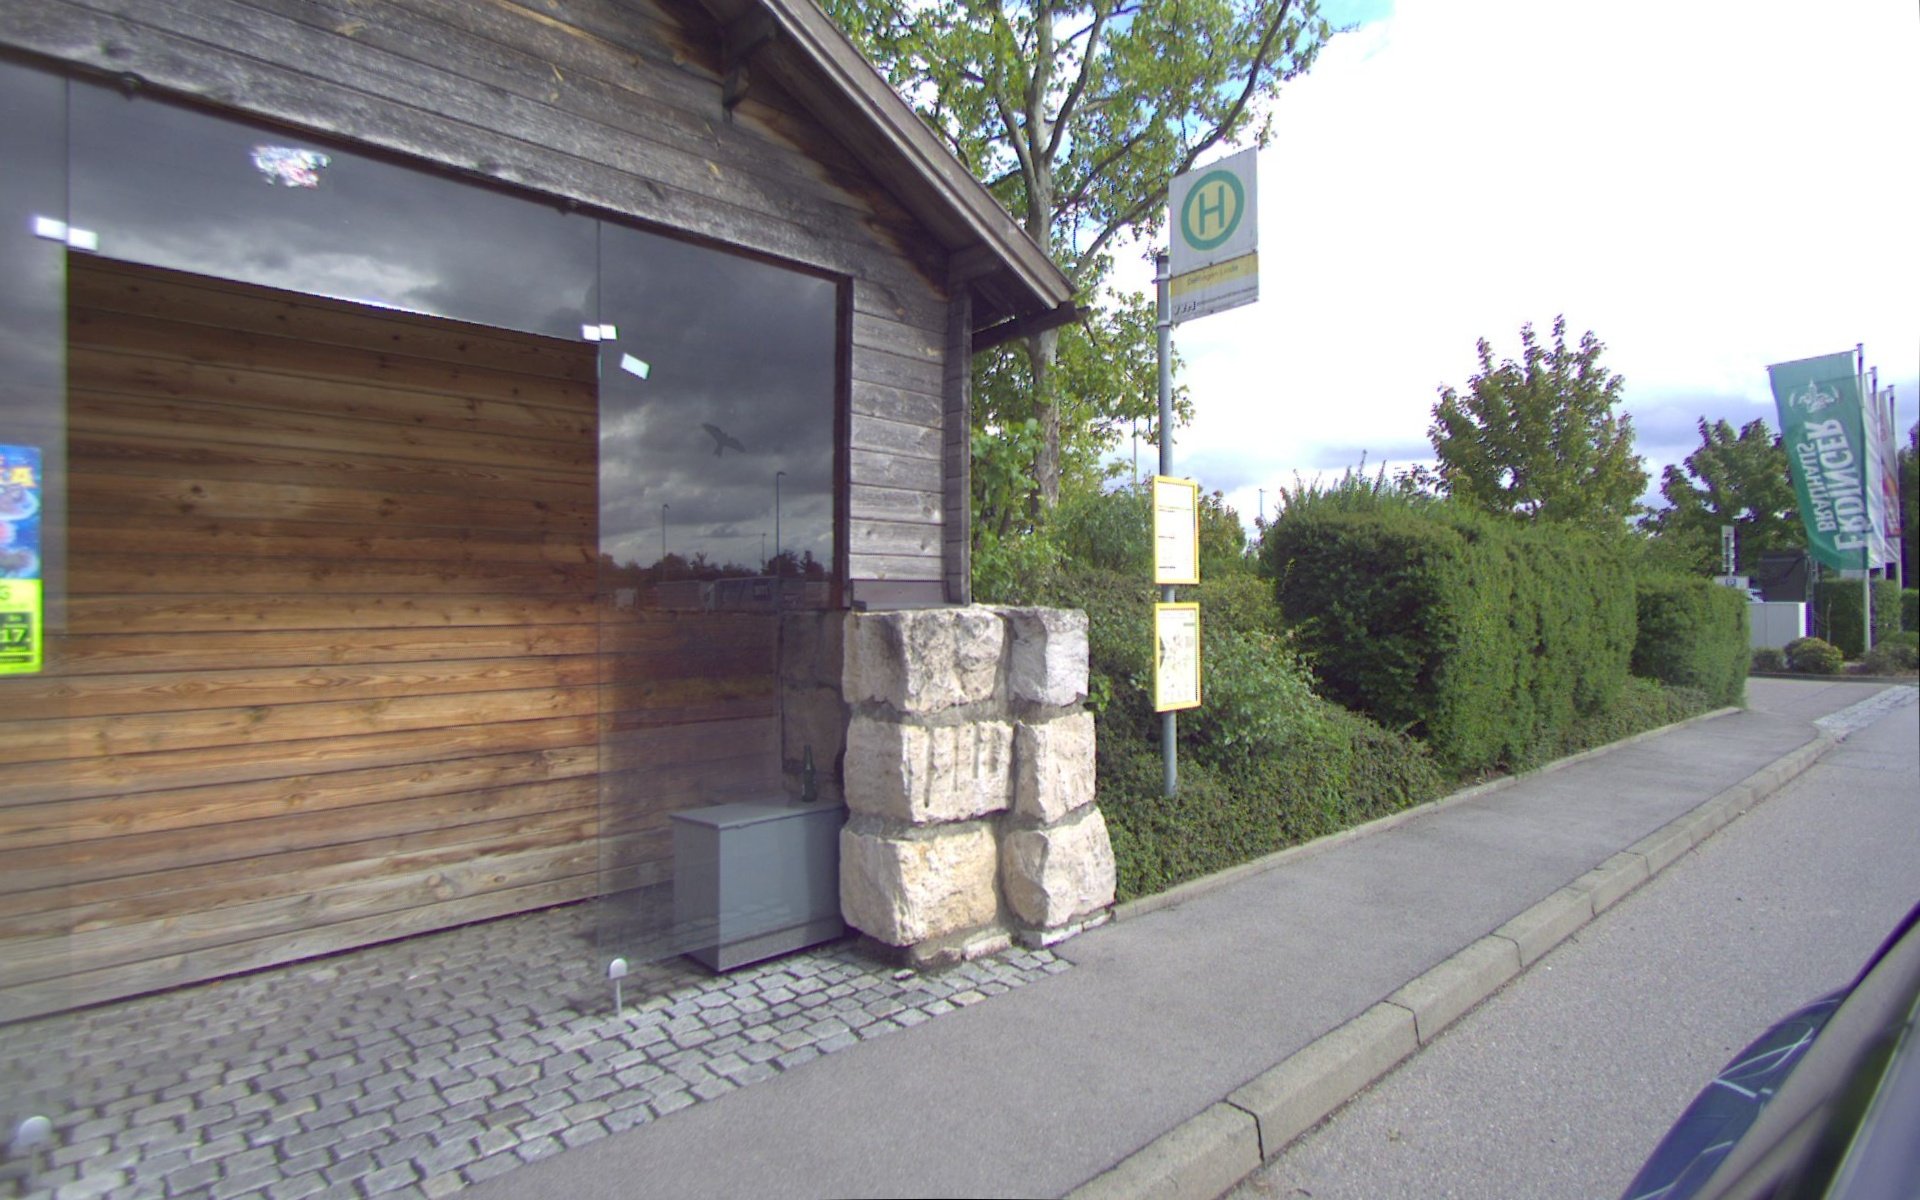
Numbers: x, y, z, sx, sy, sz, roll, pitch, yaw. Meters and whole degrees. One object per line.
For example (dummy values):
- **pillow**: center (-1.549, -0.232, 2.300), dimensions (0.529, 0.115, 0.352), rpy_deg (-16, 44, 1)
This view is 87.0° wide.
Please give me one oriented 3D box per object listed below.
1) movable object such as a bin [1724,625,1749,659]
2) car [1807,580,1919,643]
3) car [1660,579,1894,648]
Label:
- **movable object such as a bin**: center (16.181, 0.879, 21.085), dimensions (0.360, 0.693, 0.289), rpy_deg (0, -1, -30)
- **car**: center (26.931, 0.323, 28.551), dimensions (1.625, 1.738, 4.364), rpy_deg (0, -1, -33)
- **car**: center (22.489, 0.318, 28.076), dimensions (1.880, 1.717, 4.685), rpy_deg (-1, 1, -30)
